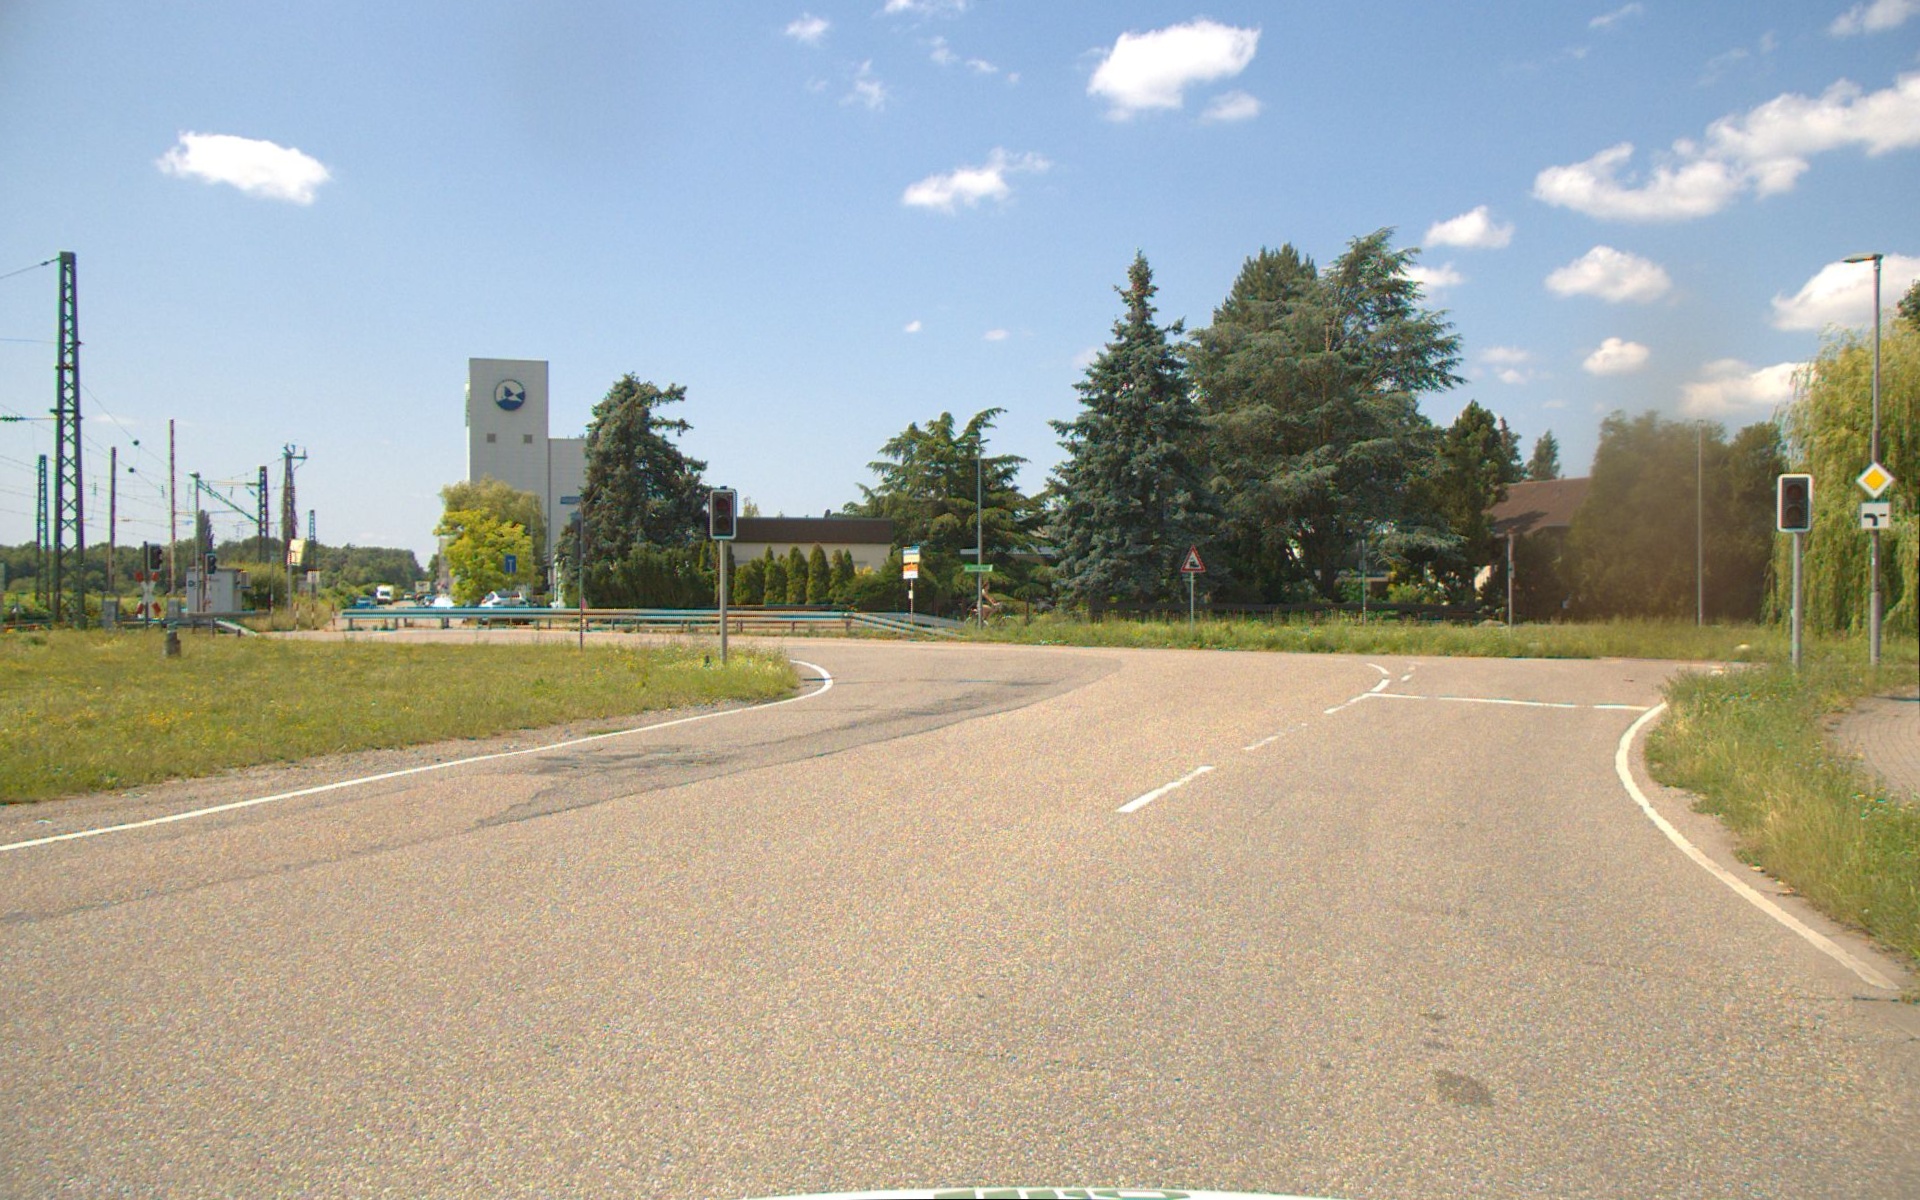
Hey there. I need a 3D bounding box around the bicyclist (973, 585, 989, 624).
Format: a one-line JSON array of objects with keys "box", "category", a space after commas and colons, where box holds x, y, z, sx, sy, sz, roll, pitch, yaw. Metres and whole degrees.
[{"box": [0.681, 0.144, 53.598, 0.499, 1.277, 0.469, 0, 0, 3], "category": "bicyclist"}]

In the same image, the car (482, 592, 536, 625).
[{"box": [-21.752, 0.395, 79.640, 1.966, 1.536, 4.424, 0, 1, -22], "category": "car"}]

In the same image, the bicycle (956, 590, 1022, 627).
[{"box": [0.945, 0.261, 53.597, 2.094, 1.185, 0.661, 0, 0, 3], "category": "bicycle"}]
